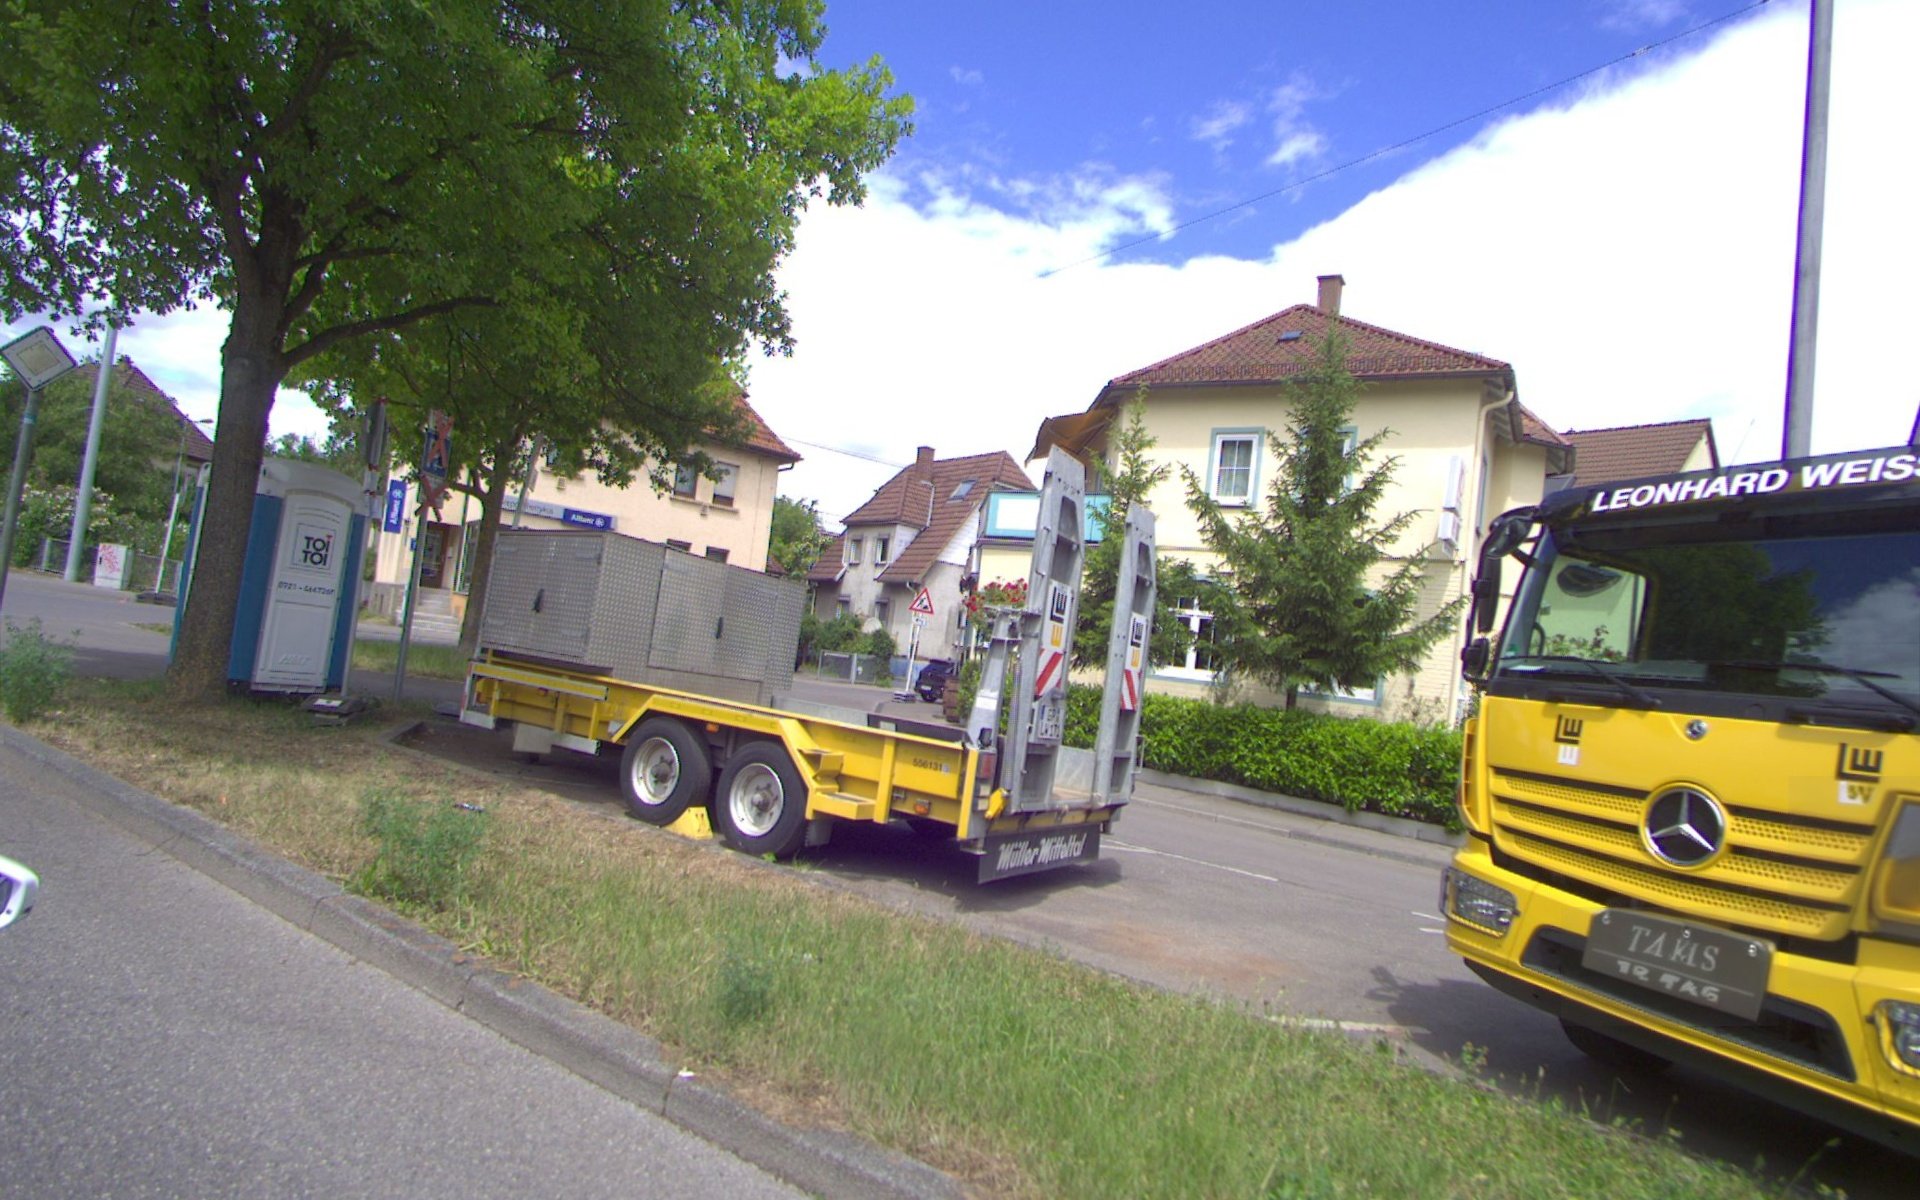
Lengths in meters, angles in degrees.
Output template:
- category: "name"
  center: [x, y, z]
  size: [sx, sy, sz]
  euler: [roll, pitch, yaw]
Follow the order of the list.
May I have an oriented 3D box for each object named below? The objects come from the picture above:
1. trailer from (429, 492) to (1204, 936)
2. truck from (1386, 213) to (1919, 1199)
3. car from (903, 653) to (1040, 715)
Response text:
- category: "trailer"
  center: [-1.273, 0.653, 8.126]
  size: [5.580, 2.268, 2.601]
  euler: [6, -5, 32]
- category: "truck"
  center: [5.563, 0.999, 4.790]
  size: [6.557, 3.232, 2.330]
  euler: [12, -3, -24]
- category: "car"
  center: [0.406, 2.670, 31.747]
  size: [3.967, 1.392, 1.698]
  euler: [10, -3, -35]
